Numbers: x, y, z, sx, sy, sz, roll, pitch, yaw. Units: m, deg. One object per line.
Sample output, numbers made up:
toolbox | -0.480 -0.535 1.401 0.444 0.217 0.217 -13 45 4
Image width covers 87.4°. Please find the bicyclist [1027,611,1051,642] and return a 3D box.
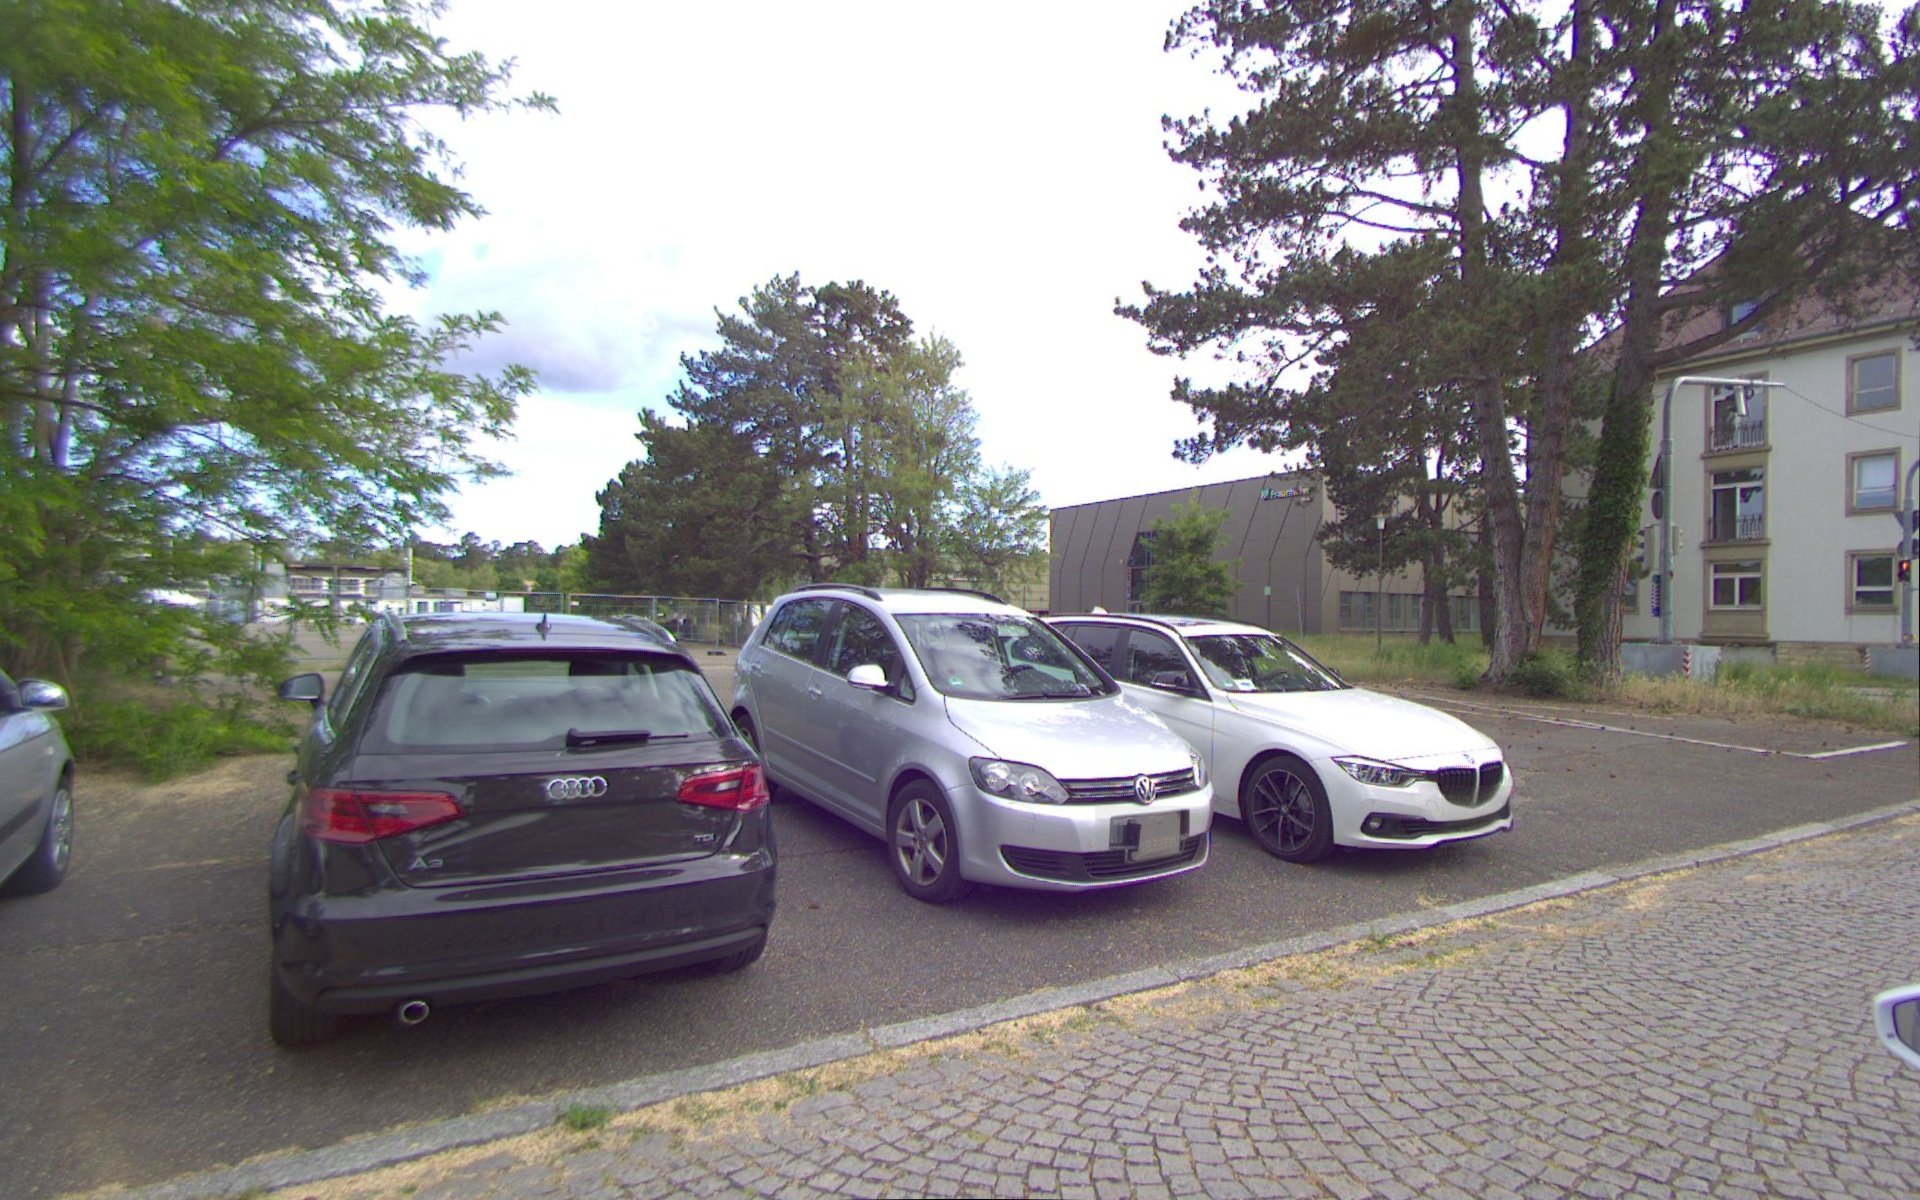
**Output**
bicyclist | 4.035 1.360 51.332 0.890 1.562 0.860 2 0 -31

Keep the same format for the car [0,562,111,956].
car | -4.443 0.609 3.596 1.567 1.490 3.927 1 2 -32

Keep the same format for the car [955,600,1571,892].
car | 1.964 0.815 8.073 1.846 1.508 4.713 0 1 -31

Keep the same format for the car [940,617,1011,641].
car | 1.043 1.949 67.465 4.446 1.482 1.917 -1 0 -33

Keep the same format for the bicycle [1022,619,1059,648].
bicycle | 4.086 1.691 51.244 0.817 1.395 2.025 2 0 -31

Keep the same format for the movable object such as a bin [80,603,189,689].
movable object such as a bin | -11.839 0.642 14.491 0.849 1.140 2.250 2 -2 -31

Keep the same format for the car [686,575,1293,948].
car | -0.182 0.687 6.745 1.854 1.619 4.334 1 1 -35

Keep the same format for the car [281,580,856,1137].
car | -2.254 0.696 5.097 1.702 1.443 4.411 1 2 -31

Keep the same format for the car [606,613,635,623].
car | -57.708 3.053 170.804 4.283 1.570 1.985 1 -1 -29
